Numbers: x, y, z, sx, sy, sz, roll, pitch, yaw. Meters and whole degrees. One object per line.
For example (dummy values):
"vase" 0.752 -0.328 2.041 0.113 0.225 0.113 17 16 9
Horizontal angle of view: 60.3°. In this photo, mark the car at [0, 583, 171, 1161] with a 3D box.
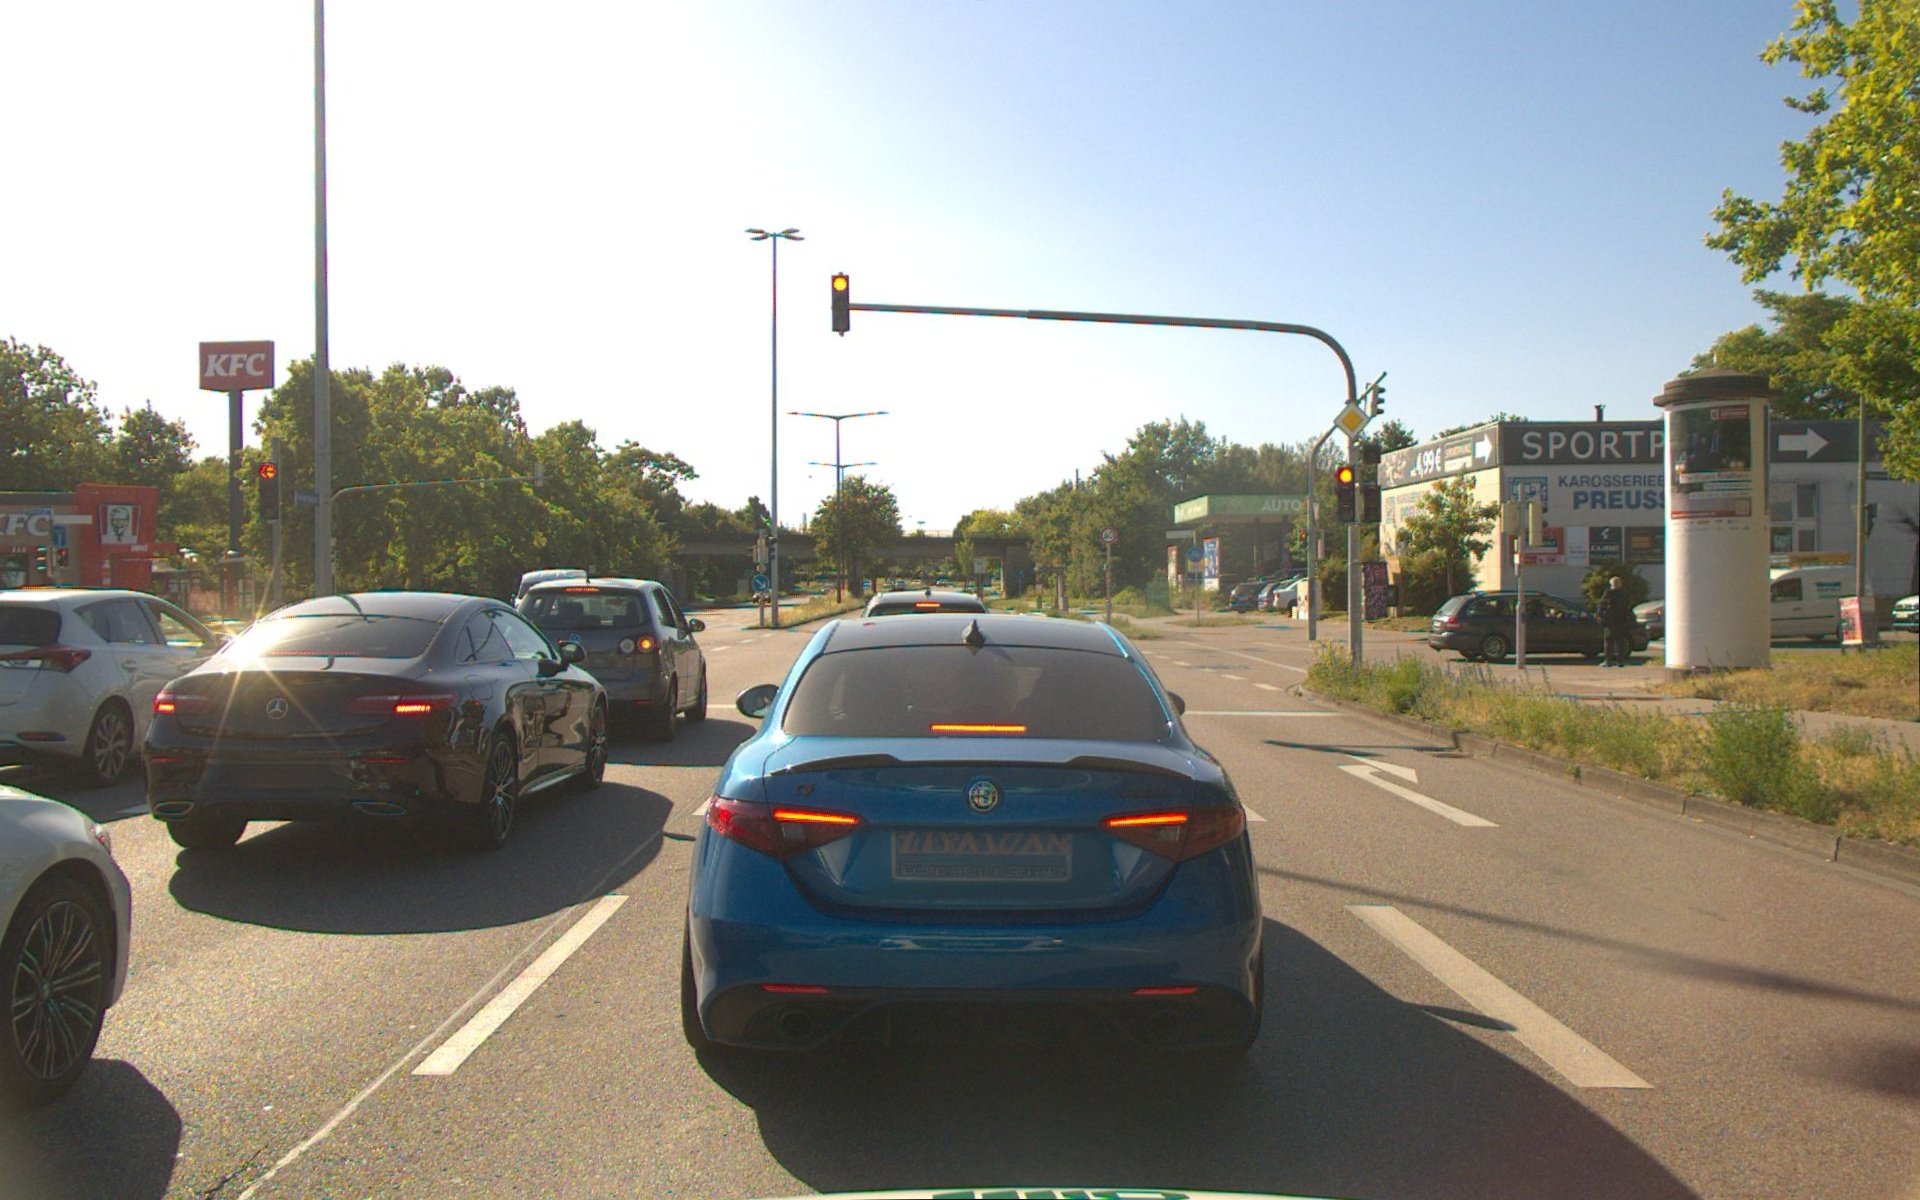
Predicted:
"car" -3.338 0.694 3.044 1.749 1.516 4.401 1 0 -2

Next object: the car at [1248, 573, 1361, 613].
"car" 14.631 -0.300 70.325 4.397 1.479 1.858 -2 0 1

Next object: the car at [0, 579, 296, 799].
"car" -7.106 0.617 13.555 1.723 1.516 4.195 1 0 -2

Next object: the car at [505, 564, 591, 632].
"car" -16.449 -0.076 66.319 1.981 2.489 5.820 -3 0 -1

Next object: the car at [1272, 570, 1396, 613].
"car" 14.610 -0.324 64.792 4.397 1.479 1.858 -2 0 1

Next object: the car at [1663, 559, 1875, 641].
"car" 19.536 -0.013 40.021 4.293 1.833 1.764 -1 2 -2

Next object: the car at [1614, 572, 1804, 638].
"car" 19.599 0.108 43.373 4.201 1.576 1.764 -1 2 -2

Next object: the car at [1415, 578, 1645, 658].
"car" 12.239 0.380 35.715 4.320 1.516 1.765 -2 0 1

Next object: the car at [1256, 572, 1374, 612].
"car" 14.487 -0.323 67.569 4.397 1.479 1.858 -2 0 1

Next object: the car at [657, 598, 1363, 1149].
"car" 0.073 0.739 6.590 1.857 1.443 4.401 1 0 -2

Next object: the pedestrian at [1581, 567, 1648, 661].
"pedestrian" 12.658 0.267 32.011 0.906 1.765 0.938 1 -1 -1

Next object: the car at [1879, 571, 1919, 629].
"car" 26.810 -0.064 43.779 3.960 1.516 1.782 -2 0 -3

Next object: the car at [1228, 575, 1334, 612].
"car" 14.402 -0.292 74.371 4.397 1.479 1.858 -2 0 1

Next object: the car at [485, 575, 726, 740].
"car" -3.619 0.548 17.646 1.723 1.516 4.401 1 0 -2

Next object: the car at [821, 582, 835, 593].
"car" -18.610 -1.731 233.346 1.723 1.516 4.477 -2 0 -1

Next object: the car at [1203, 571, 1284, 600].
"car" 16.723 -0.853 97.579 4.457 1.516 1.765 -2 0 1

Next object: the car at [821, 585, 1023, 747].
"car" -0.409 0.609 17.218 1.813 1.443 4.401 1 0 -2

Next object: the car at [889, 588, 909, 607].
"car" -6.127 -0.255 166.177 1.853 1.847 3.999 1 0 -1

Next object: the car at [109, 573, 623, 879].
"car" -3.434 0.644 10.548 1.760 1.516 4.474 1 0 -2
